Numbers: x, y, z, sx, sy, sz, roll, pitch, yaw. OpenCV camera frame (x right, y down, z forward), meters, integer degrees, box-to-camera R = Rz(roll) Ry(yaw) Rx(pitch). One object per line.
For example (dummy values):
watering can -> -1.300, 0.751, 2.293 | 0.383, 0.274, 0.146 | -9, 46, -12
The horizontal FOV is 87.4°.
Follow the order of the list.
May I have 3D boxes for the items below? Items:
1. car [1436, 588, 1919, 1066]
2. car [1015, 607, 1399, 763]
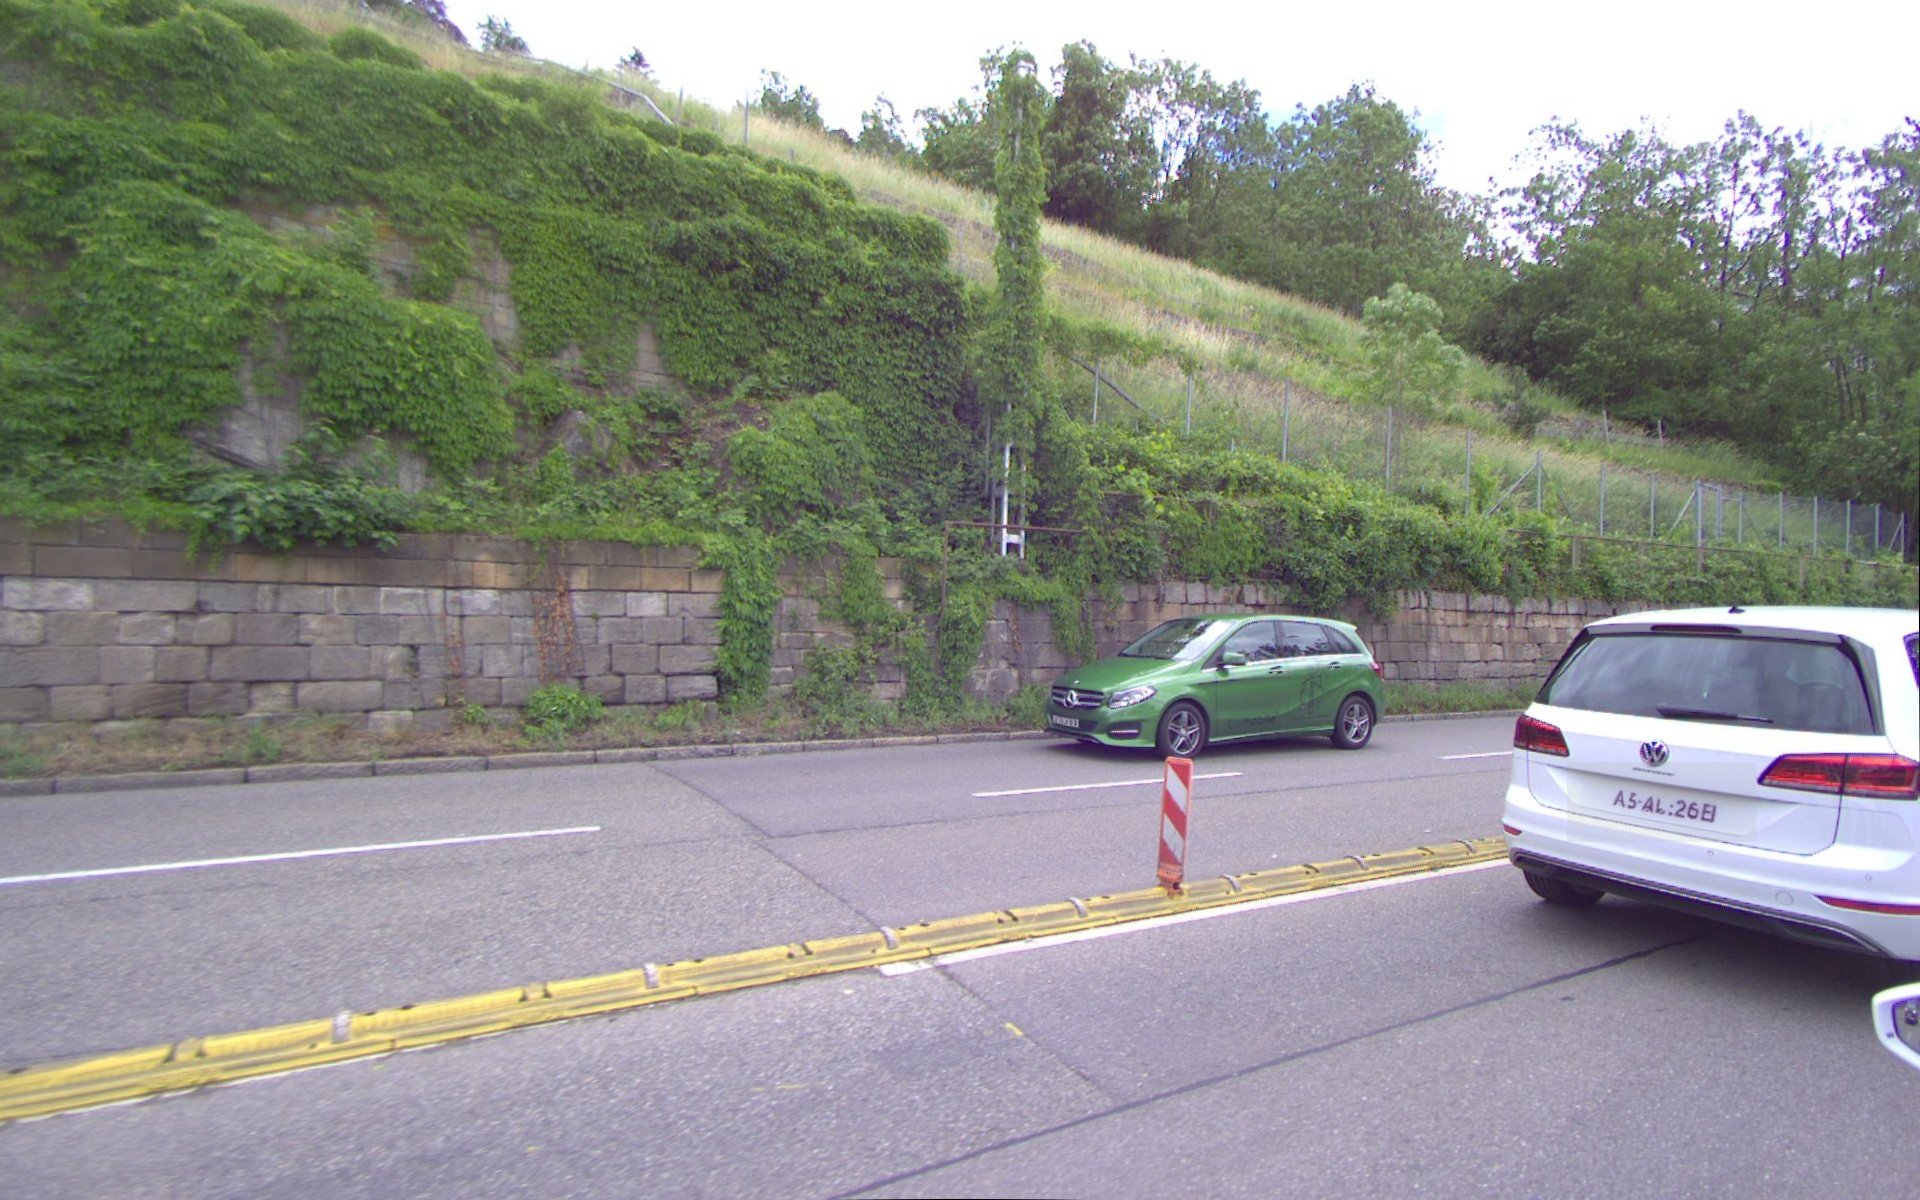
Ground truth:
car -> 4.670, 0.822, 5.225 | 4.303, 1.601, 1.813 | 2, -1, -29
car -> 2.933, 0.902, 11.775 | 4.281, 1.535, 1.843 | 1, -2, -29
